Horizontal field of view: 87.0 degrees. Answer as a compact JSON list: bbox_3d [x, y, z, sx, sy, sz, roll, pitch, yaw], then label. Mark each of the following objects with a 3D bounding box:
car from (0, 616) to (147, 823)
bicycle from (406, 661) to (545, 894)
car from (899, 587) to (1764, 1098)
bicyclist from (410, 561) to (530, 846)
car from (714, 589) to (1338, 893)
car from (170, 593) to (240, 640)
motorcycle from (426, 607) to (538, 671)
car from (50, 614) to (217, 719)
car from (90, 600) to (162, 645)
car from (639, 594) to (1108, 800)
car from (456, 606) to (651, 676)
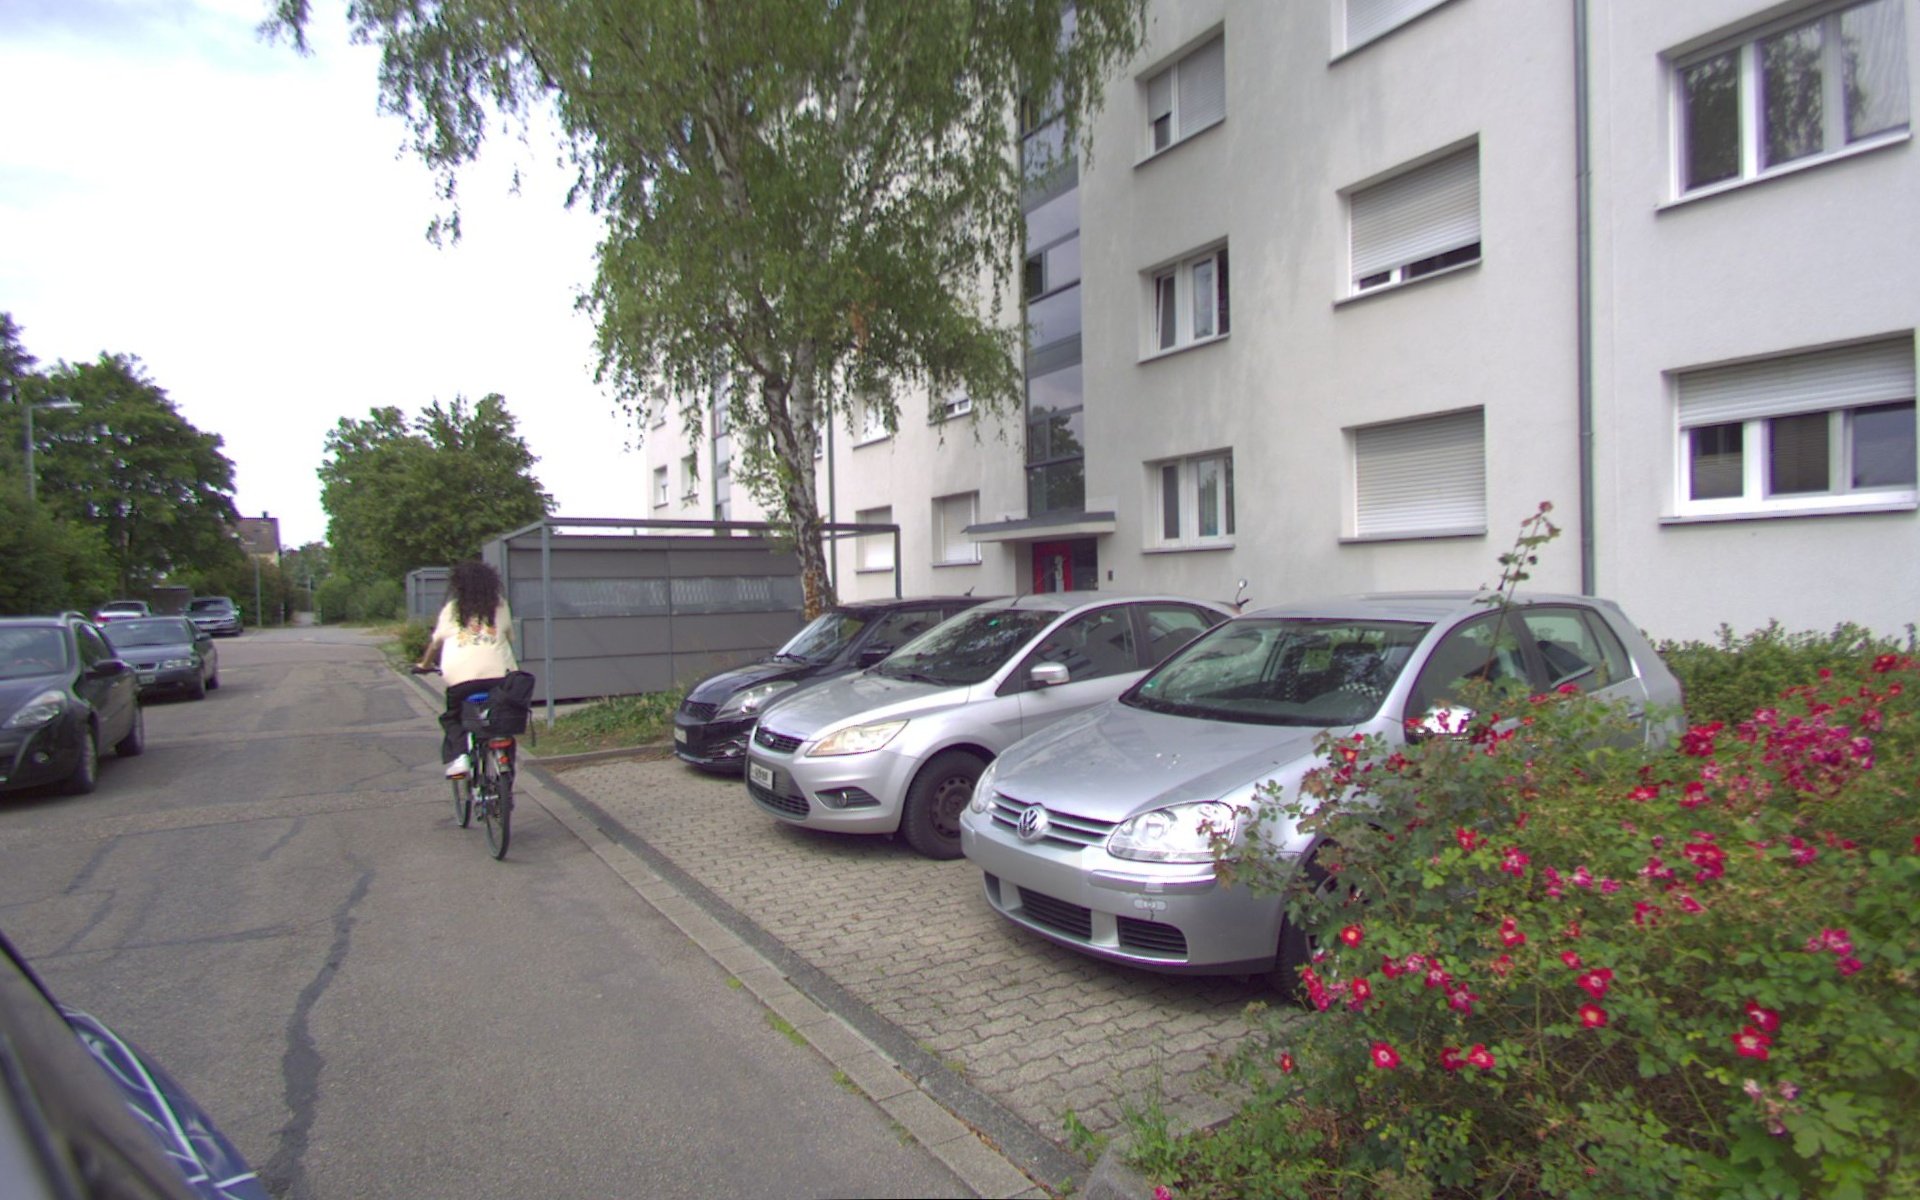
[{"bbox_3d":[-8.526,0.931,8.864,1.805,1.468,4.201,-3,1,-34],"label":"car"},{"bbox_3d":[-3.035,0.975,6.231,0.589,1.084,2.048,0,0,-31],"label":"bicycle"},{"bbox_3d":[1.901,0.704,4.805,3.996,1.475,1.787,-1,0,-32],"label":"car"},{"bbox_3d":[-2.988,0.579,6.147,0.589,1.593,0.769,0,-1,-31],"label":"bicyclist"},{"bbox_3d":[0.551,0.712,6.977,3.996,1.516,1.787,-1,0,-32],"label":"car"},{"bbox_3d":[-28.627,0.599,38.480,1.895,1.596,4.010,-4,2,-35],"label":"car"},{"bbox_3d":[-11.372,0.910,24.108,2.344,1.475,0.716,1,-1,-32],"label":"motorcycle"},{"bbox_3d":[-14.056,1.032,17.443,1.805,1.468,4.201,-3,1,-34],"label":"car"},{"bbox_3d":[-31.034,0.807,37.749,1.678,1.477,4.010,-1,2,-35],"label":"car"},{"bbox_3d":[-0.739,0.732,9.489,3.996,1.516,1.787,-1,0,-32],"label":"car"},{"bbox_3d":[-9.396,0.898,23.423,3.932,1.497,1.908,1,-1,-31],"label":"car"}]
